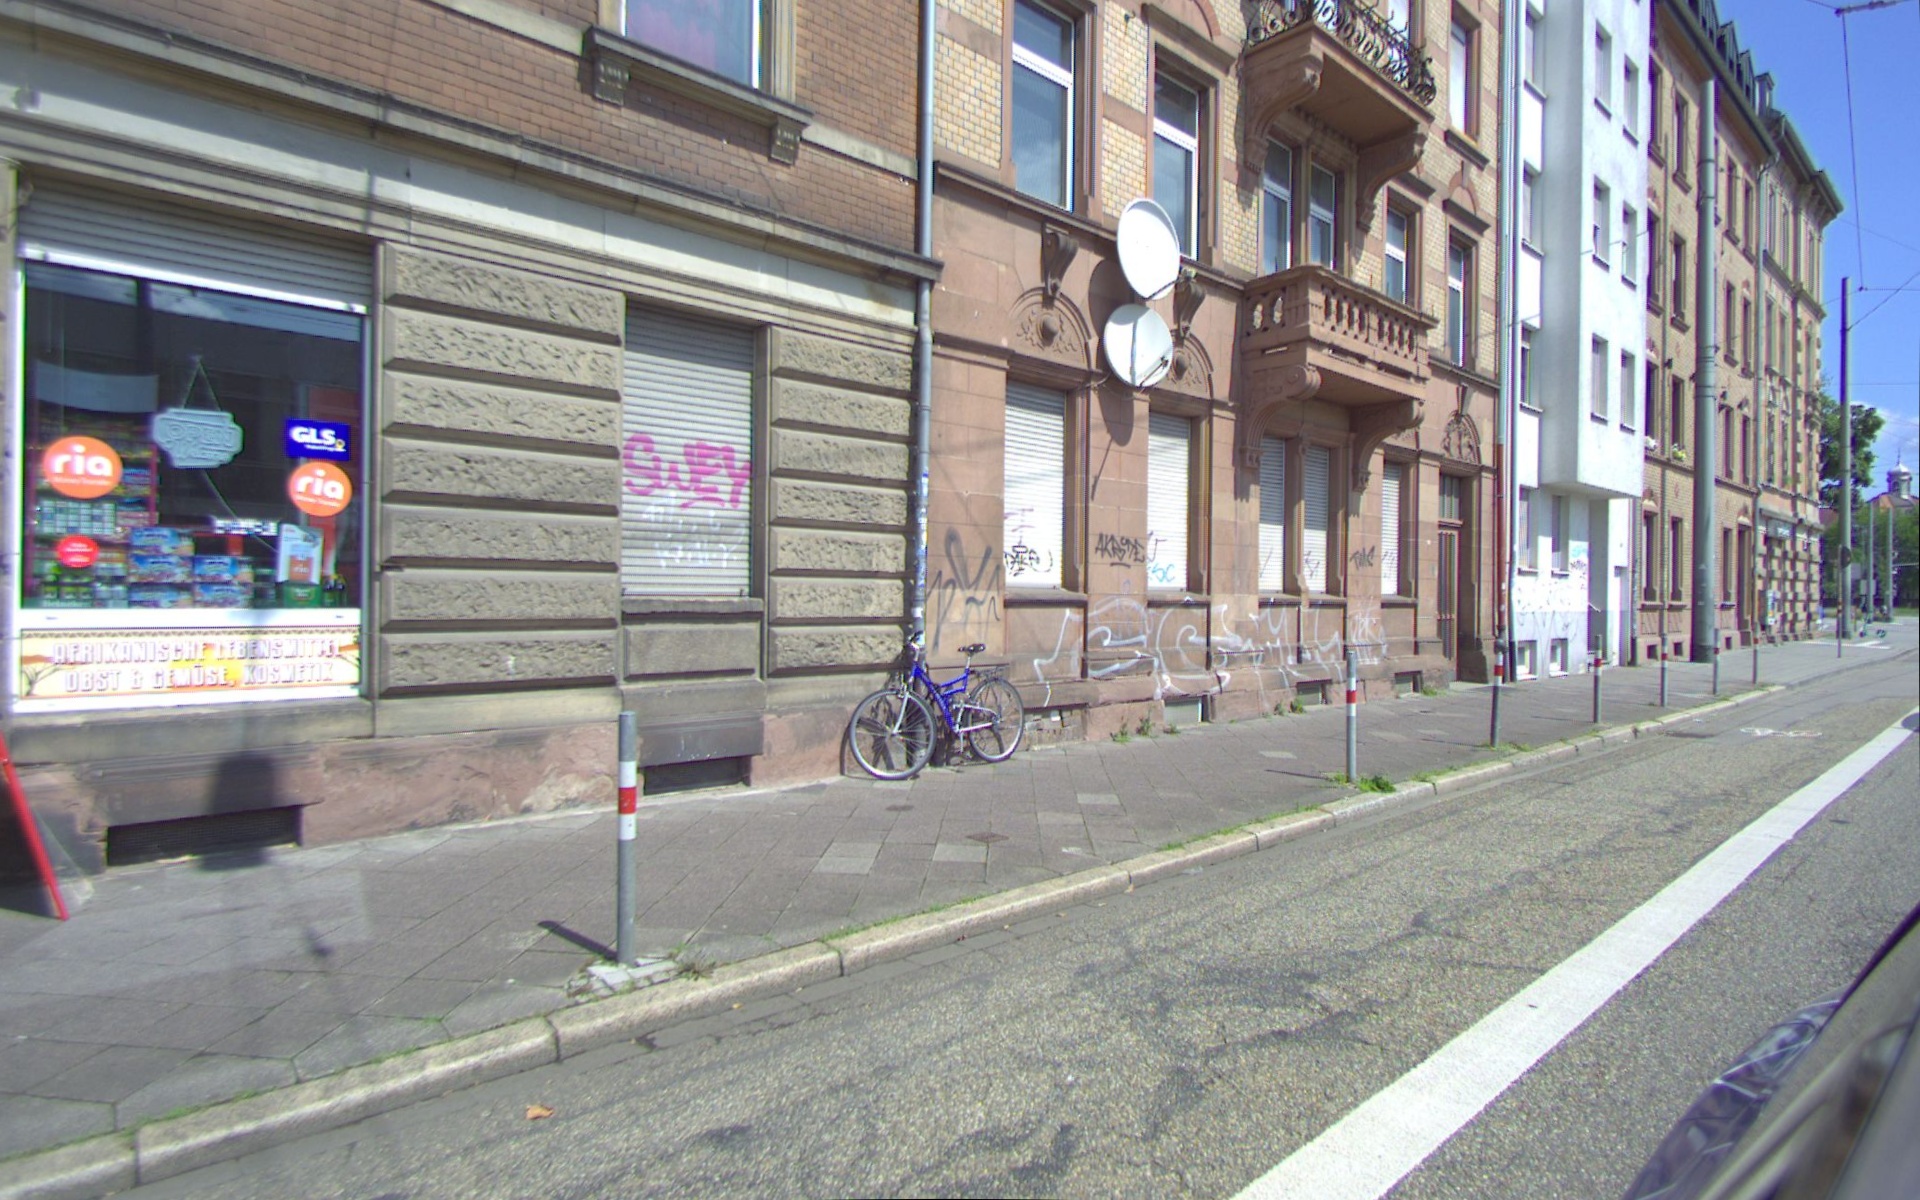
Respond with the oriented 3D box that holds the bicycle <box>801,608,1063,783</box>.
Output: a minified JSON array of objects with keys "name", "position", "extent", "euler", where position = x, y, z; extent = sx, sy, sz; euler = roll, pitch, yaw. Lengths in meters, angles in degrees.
[{"name":"bicycle","position":[-0.158,0.676,7.976],"extent":[2.166,1.193,0.587],"euler":[0,1,-41]}]

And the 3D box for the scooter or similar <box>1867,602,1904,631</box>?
[{"name":"scooter or similar","position":[39.561,0.703,43.269],"extent":[1.065,1.194,0.951],"euler":[0,1,-35]}]
